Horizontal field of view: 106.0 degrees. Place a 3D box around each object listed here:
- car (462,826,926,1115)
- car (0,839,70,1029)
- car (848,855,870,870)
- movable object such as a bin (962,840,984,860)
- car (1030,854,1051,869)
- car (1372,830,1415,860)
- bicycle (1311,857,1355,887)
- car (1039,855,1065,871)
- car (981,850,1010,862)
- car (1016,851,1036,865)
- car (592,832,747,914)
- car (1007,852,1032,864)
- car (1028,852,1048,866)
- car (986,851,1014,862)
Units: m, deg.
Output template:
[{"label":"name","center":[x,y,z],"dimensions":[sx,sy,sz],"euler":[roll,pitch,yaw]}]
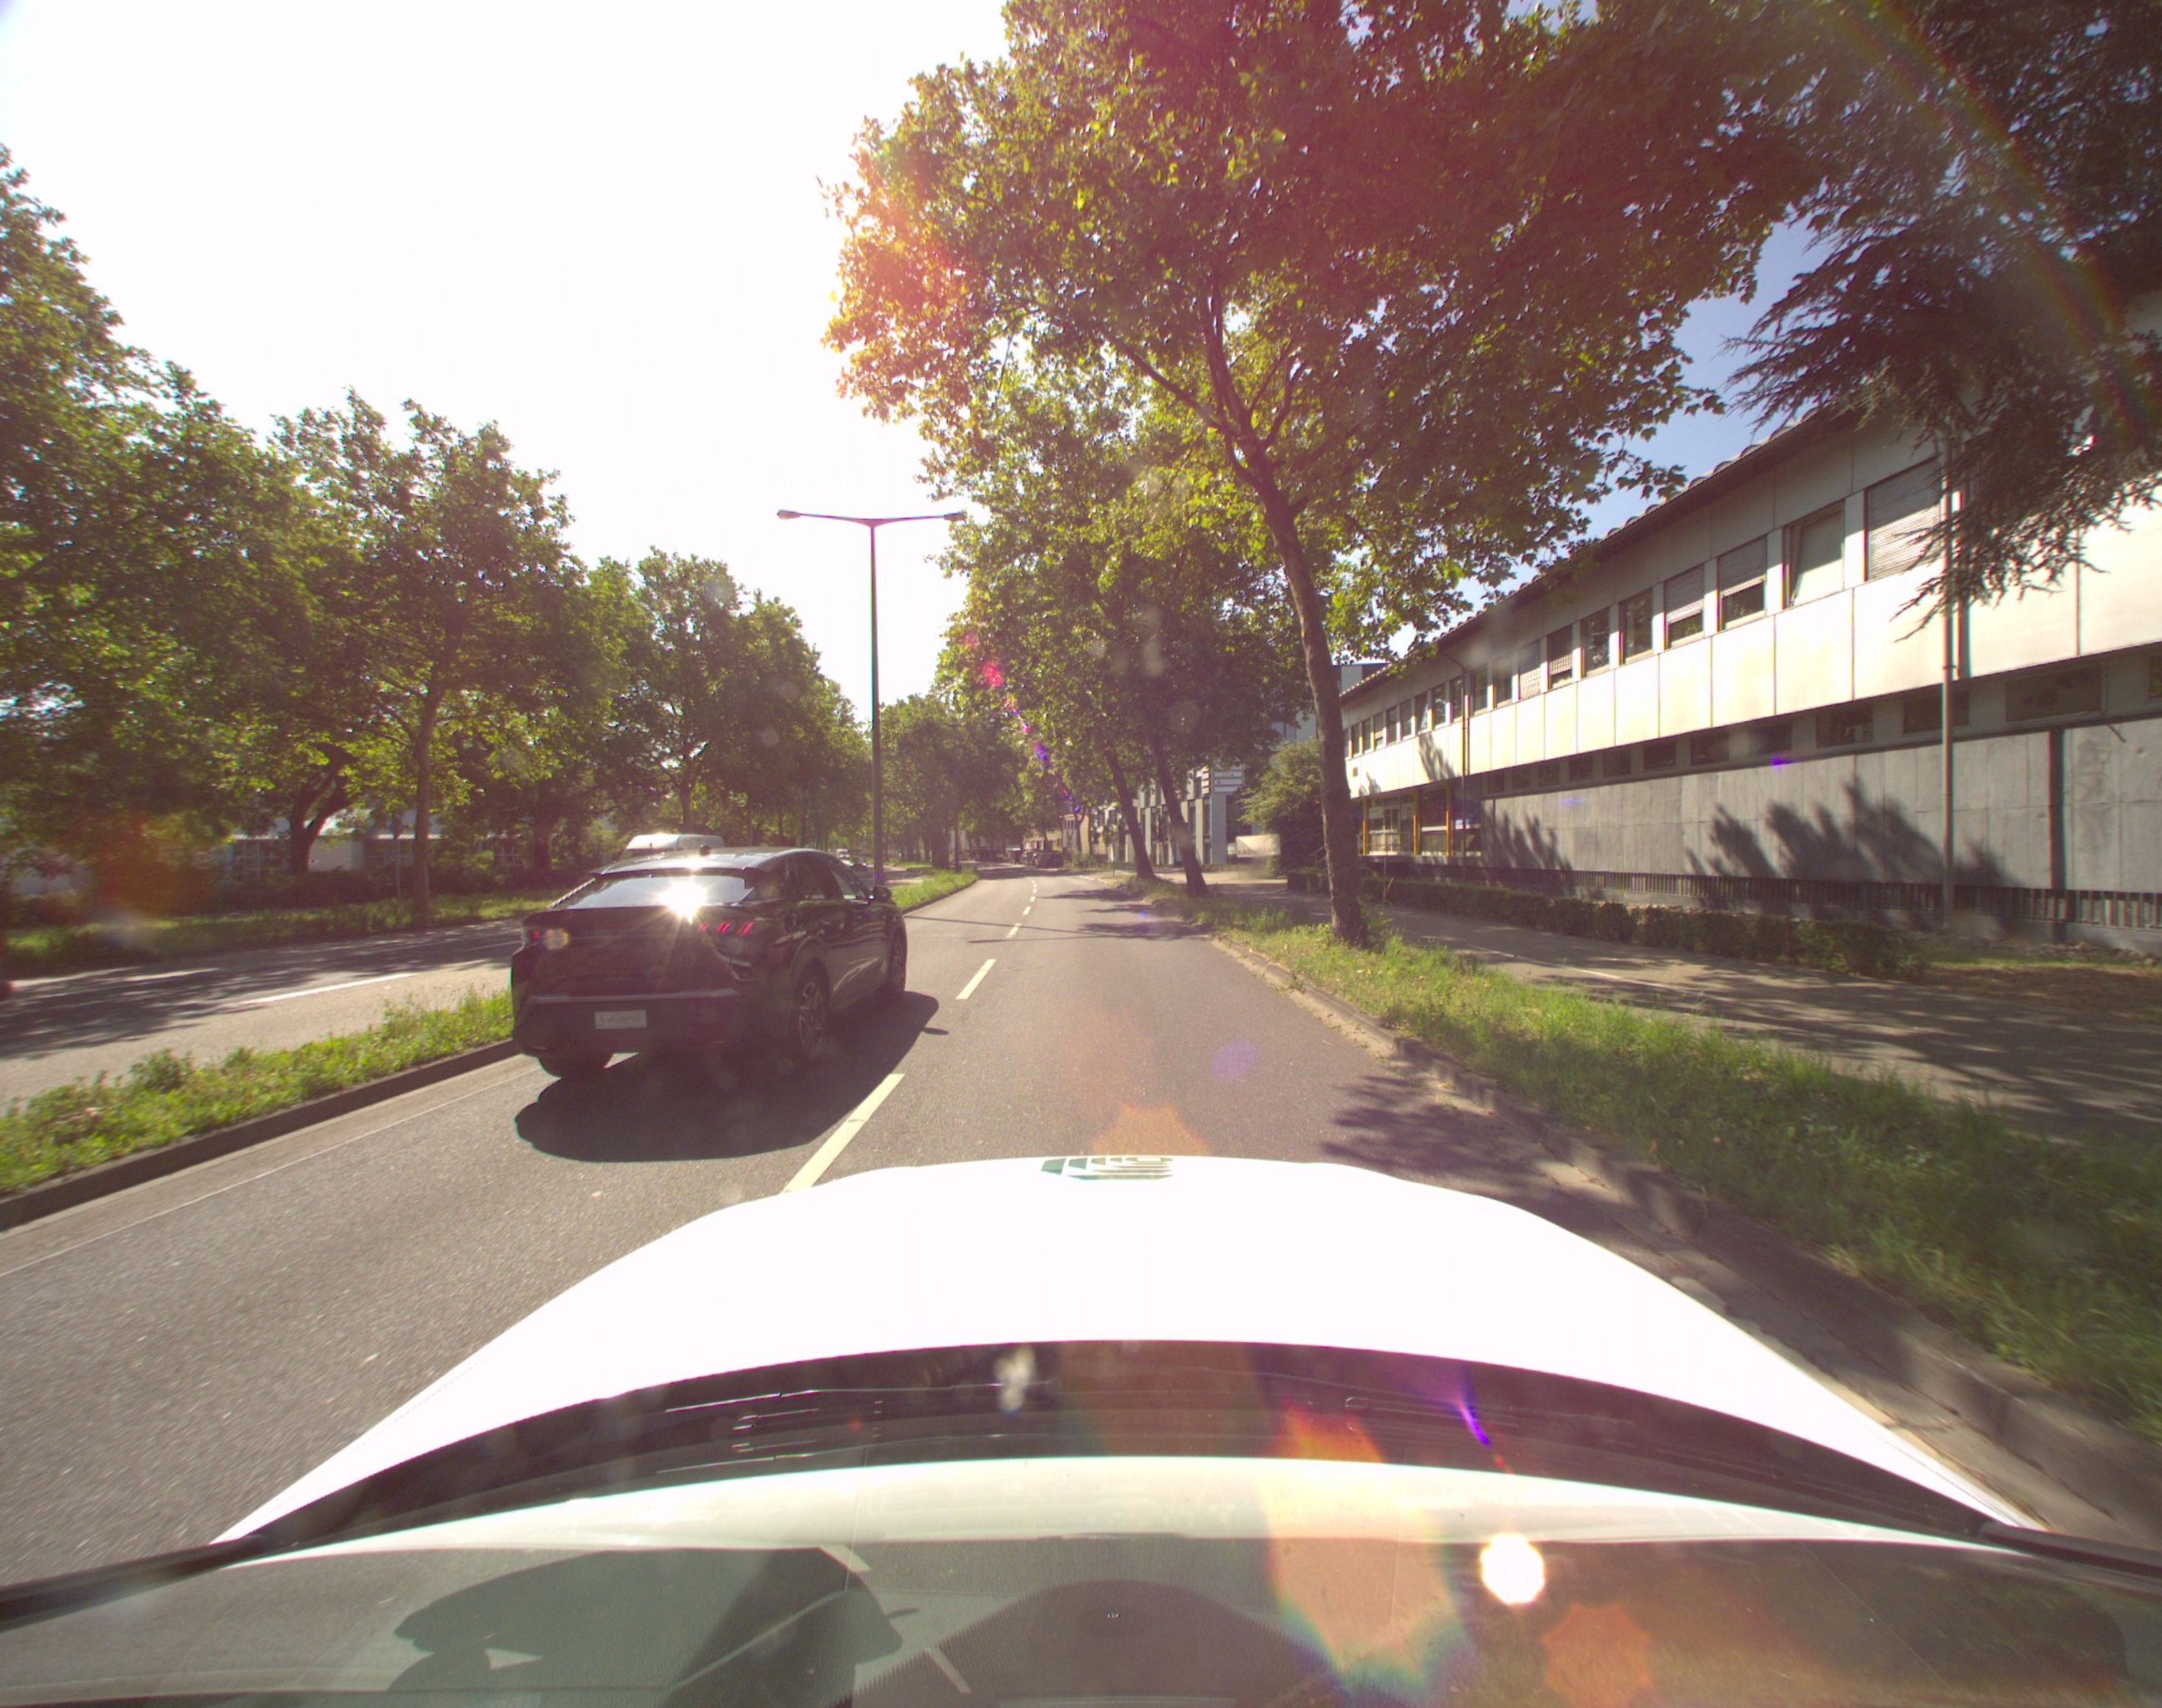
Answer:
[{"label":"car","center":[-2.782,0.708,7.182],"dimensions":[1.866,1.696,4.436],"euler":[-2,0,1]},{"label":"car","center":[-11.303,0.825,5.905],"dimensions":[1.681,1.838,4.992],"euler":[-2,1,-1]},{"label":"car","center":[-24.812,0.942,91.252],"dimensions":[1.793,1.556,4.384],"euler":[-2,0,-8]},{"label":"movable object such as a bin","center":[-18.695,-0.682,140.796],"dimensions":[2.348,3.240,3.391],"euler":[-2,1,-40]},{"label":"car","center":[-4.333,0.759,86.351],"dimensions":[1.707,1.487,4.087],"euler":[-1,1,-10]},{"label":"car","center":[18.534,-0.526,48.176],"dimensions":[1.659,1.662,3.772],"euler":[-3,-1,31]},{"label":"bicycle","center":[10.344,0.743,33.462],"dimensions":[1.661,1.130,0.510],"euler":[-2,0,8]},{"label":"car","center":[-2.916,0.864,80.774],"dimensions":[1.709,1.487,4.697],"euler":[-2,1,-14]},{"label":"car","center":[-13.593,0.326,129.346],"dimensions":[4.128,1.879,1.767],"euler":[-2,1,-32]},{"label":"car","center":[-6.969,0.508,103.516],"dimensions":[1.710,1.669,4.511],"euler":[-1,1,-15]},{"label":"car","center":[-14.912,0.605,30.206],"dimensions":[2.054,2.613,7.215],"euler":[-2,0,0]},{"label":"car","center":[-9.276,0.580,122.789],"dimensions":[3.561,1.640,1.649],"euler":[-1,0,-18]},{"label":"car","center":[-4.856,0.576,91.333],"dimensions":[1.707,1.455,4.640],"euler":[-1,1,-10]},{"label":"car","center":[-12.651,0.414,127.304],"dimensions":[4.126,1.633,1.696],"euler":[-2,1,-31]}]
